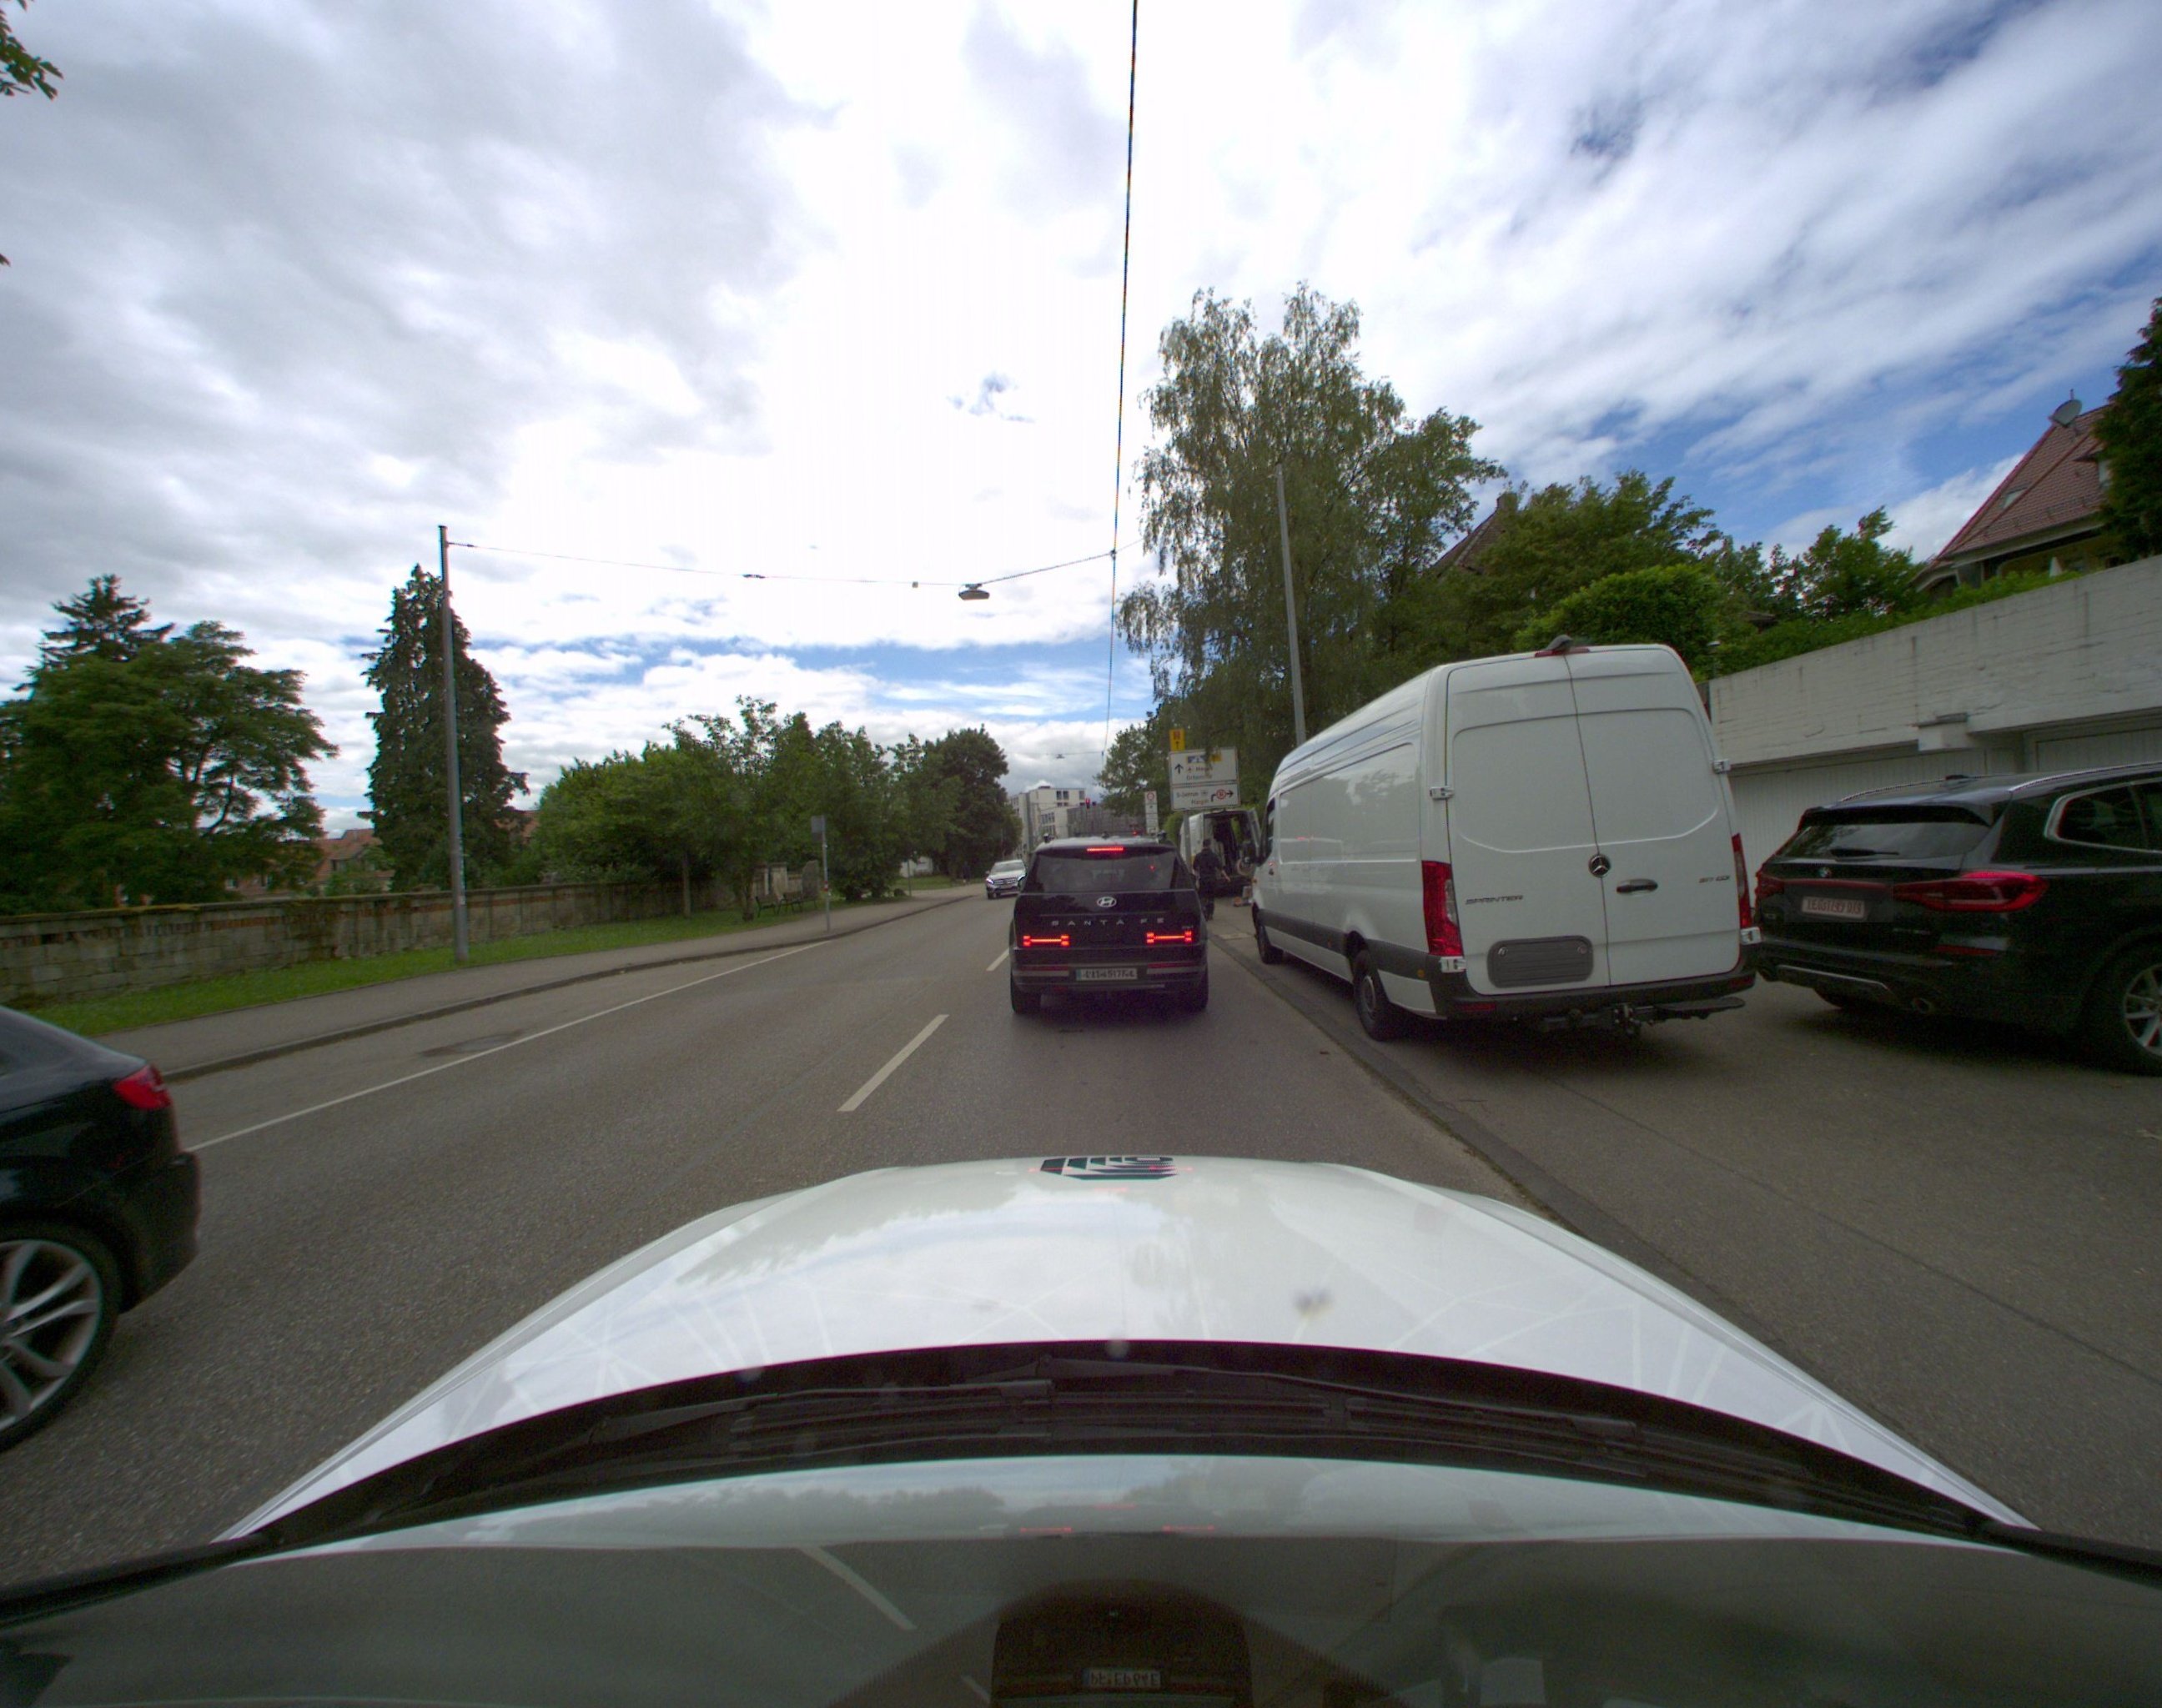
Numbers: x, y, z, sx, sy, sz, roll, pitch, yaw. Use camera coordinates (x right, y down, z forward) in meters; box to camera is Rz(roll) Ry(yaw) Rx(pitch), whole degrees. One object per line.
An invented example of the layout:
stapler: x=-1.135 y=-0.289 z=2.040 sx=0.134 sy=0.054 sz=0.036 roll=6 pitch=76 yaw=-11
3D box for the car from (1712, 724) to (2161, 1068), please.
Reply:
car: x=6.856 y=0.133 z=5.053 sx=4.398 sy=1.750 sz=1.739 roll=-3 pitch=0 yaw=3

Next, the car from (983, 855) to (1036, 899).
car: x=-3.053 y=0.939 z=35.535 sx=1.779 sy=1.653 sz=4.120 roll=-6 pitch=0 yaw=0

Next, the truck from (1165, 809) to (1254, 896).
truck: x=4.299 y=-0.027 z=28.135 sx=1.937 sy=2.561 sz=5.213 roll=-5 pitch=-1 yaw=-1

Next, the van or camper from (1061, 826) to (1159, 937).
van or camper: x=0.612 y=0.518 z=17.437 sx=1.748 sy=2.013 sz=4.002 roll=-3 pitch=0 yaw=2

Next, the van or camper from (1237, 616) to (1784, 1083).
van or camper: x=3.128 y=-0.022 z=8.023 sx=1.986 sy=2.620 sz=6.543 roll=-3 pitch=0 yaw=2

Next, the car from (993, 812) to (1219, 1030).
car: x=0.277 y=0.575 z=8.981 sx=1.883 sy=1.819 sz=4.002 roll=-2 pitch=0 yaw=2

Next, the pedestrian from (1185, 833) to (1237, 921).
pedestrian: x=2.763 y=0.483 z=17.297 sx=0.750 sy=1.797 sz=0.878 roll=-3 pitch=0 yaw=28

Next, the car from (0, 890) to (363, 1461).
car: x=-3.845 y=0.952 z=1.127 sx=1.852 sy=1.453 sz=4.112 roll=-6 pitch=0 yaw=2

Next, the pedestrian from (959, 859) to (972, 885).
pedestrian: x=-7.665 y=1.192 z=54.231 sx=0.737 sy=1.715 sz=0.791 roll=-3 pitch=0 yaw=-5
